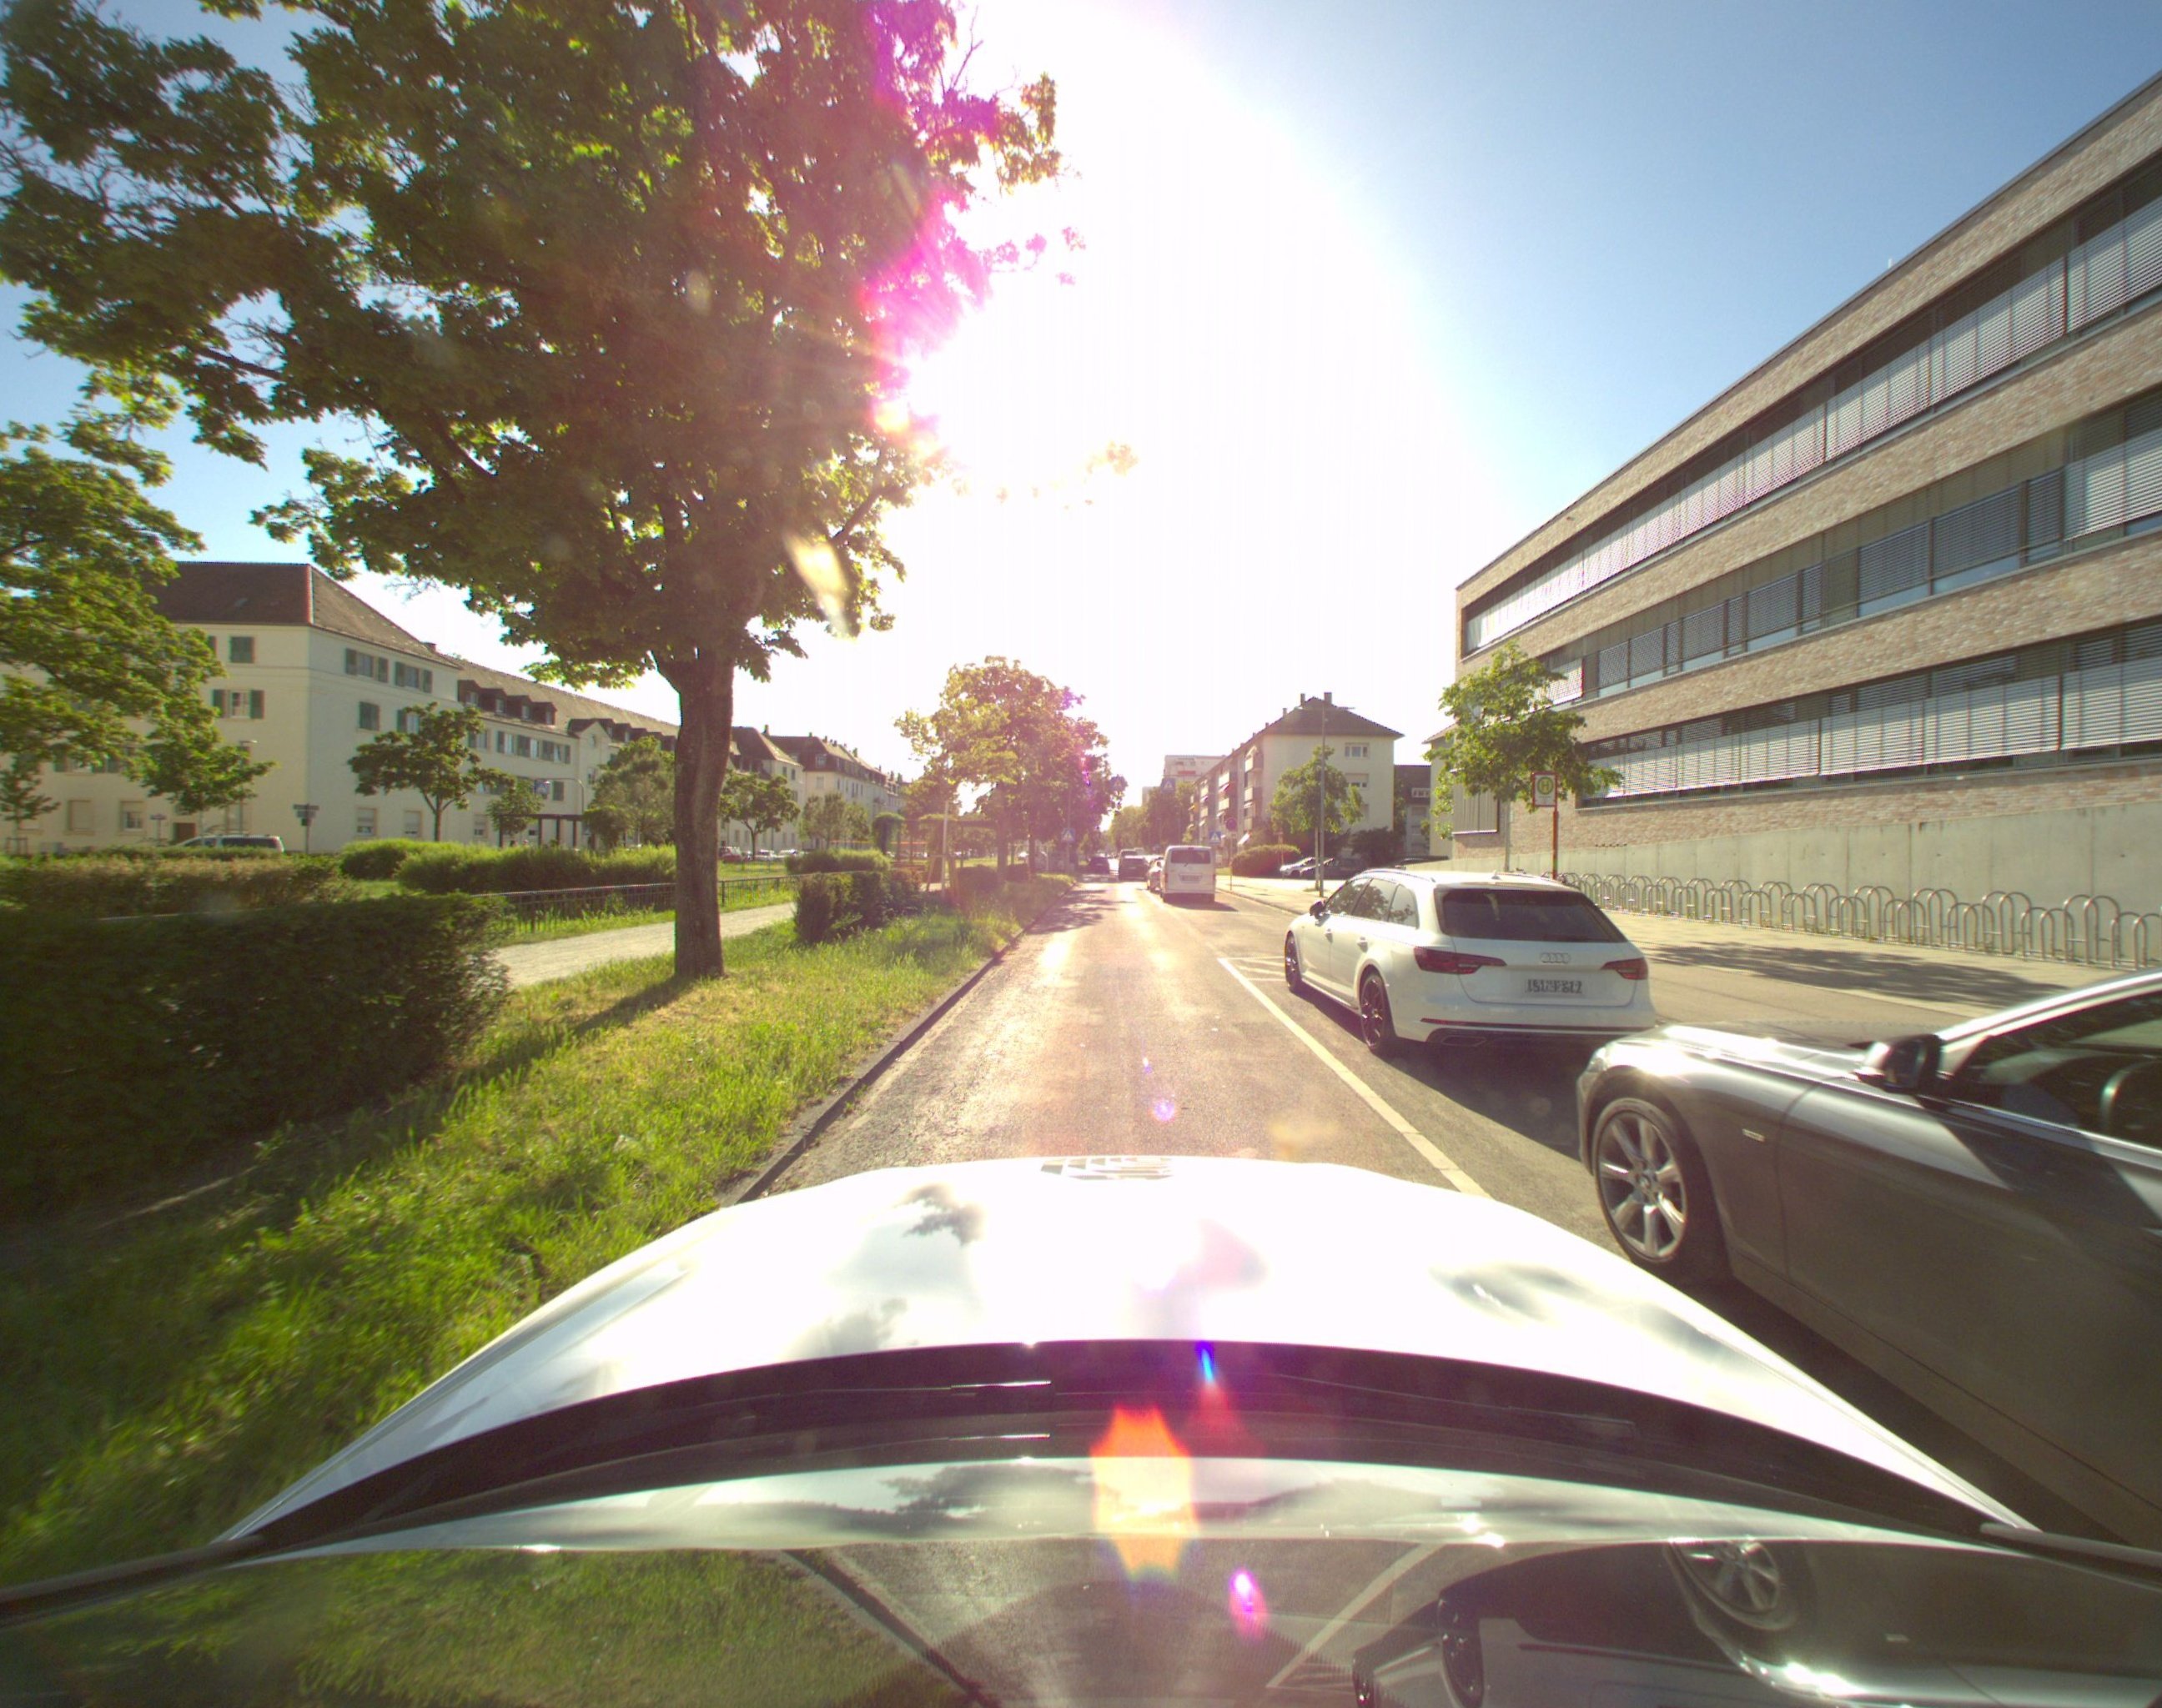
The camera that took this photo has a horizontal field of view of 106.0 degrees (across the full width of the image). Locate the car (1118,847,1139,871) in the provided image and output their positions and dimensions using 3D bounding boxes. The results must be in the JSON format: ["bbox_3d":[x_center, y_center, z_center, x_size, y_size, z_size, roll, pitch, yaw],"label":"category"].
[{"bbox_3d":[4.383,0.480,75.133,1.787,2.122,4.002,1,0,2],"label":"car"}]

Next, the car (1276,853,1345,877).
[{"bbox_3d":[16.491,0.780,58.616,4.467,1.622,1.799,1,-2,-1],"label":"car"}]

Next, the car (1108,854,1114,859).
[{"bbox_3d":[9.128,0.618,246.831,1.787,1.510,4.002,0,0,2],"label":"car"}]

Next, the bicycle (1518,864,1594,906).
[{"bbox_3d":[13.183,0.861,22.625,1.789,1.107,0.500,-2,0,-1],"label":"bicycle"}]

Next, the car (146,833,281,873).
[{"bbox_3d":[-38.706,-0.032,36.397,1.777,1.652,4.025,1,0,40],"label":"car"}]

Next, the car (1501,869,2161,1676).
[{"bbox_3d":[2.962,0.786,1.656,1.986,1.420,4.638,0,0,2],"label":"car"}]

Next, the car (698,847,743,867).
[{"bbox_3d":[-32.920,0.245,74.511,1.787,1.710,4.705,1,0,2],"label":"car"}]

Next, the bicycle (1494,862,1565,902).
[{"bbox_3d":[13.212,0.832,24.008,1.789,1.107,0.500,-2,0,-1],"label":"bicycle"}]

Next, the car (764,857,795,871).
[{"bbox_3d":[-33.083,1.098,89.541,1.787,1.510,4.002,1,0,2],"label":"car"}]

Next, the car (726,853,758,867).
[{"bbox_3d":[-38.019,0.666,91.485,1.787,1.510,4.002,1,0,2],"label":"car"}]

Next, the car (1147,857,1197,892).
[{"bbox_3d":[3.801,0.849,34.600,1.758,1.319,4.170,2,-1,2],"label":"car"}]

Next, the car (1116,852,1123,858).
[{"bbox_3d":[10.135,0.327,213.589,1.787,1.510,4.002,0,0,2],"label":"car"}]

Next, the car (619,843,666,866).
[{"bbox_3d":[-38.159,0.020,71.032,1.787,1.909,4.002,1,0,2],"label":"car"}]

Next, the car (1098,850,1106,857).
[{"bbox_3d":[4.973,-0.107,190.569,1.787,1.510,4.002,0,0,2],"label":"car"}]

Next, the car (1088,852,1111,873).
[{"bbox_3d":[1.550,0.683,65.742,1.787,1.624,4.002,1,0,2],"label":"car"}]

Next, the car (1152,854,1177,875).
[{"bbox_3d":[6.928,0.843,67.833,1.787,1.601,4.002,1,0,2],"label":"car"}]

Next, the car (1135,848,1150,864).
[{"bbox_3d":[9.540,0.323,126.311,1.986,2.430,4.502,3,0,2],"label":"car"}]

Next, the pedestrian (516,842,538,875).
[{"bbox_3d":[-28.277,0.235,41.569,0.645,1.698,0.650,0,0,2],"label":"pedestrian"}]

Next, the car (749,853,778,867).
[{"bbox_3d":[-37.904,0.705,97.354,1.787,1.510,4.002,1,0,2],"label":"car"}]

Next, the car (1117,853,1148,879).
[{"bbox_3d":[3.095,0.713,49.910,1.787,1.510,4.002,1,0,2],"label":"car"}]

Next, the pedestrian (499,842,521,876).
[{"bbox_3d":[-29.171,0.244,41.591,0.645,1.698,0.650,0,0,2],"label":"pedestrian"}]

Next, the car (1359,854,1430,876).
[{"bbox_3d":[22.628,0.818,58.818,4.467,1.540,1.799,1,-2,-1],"label":"car"}]

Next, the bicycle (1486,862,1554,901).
[{"bbox_3d":[13.222,0.832,24.541,1.789,1.107,0.500,-2,0,-1],"label":"bicycle"}]

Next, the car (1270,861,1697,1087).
[{"bbox_3d":[3.158,0.800,7.619,1.788,1.420,4.658,0,0,1],"label":"car"}]

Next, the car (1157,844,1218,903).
[{"bbox_3d":[3.591,0.616,28.103,1.786,1.855,4.417,1,0,4],"label":"car"}]
